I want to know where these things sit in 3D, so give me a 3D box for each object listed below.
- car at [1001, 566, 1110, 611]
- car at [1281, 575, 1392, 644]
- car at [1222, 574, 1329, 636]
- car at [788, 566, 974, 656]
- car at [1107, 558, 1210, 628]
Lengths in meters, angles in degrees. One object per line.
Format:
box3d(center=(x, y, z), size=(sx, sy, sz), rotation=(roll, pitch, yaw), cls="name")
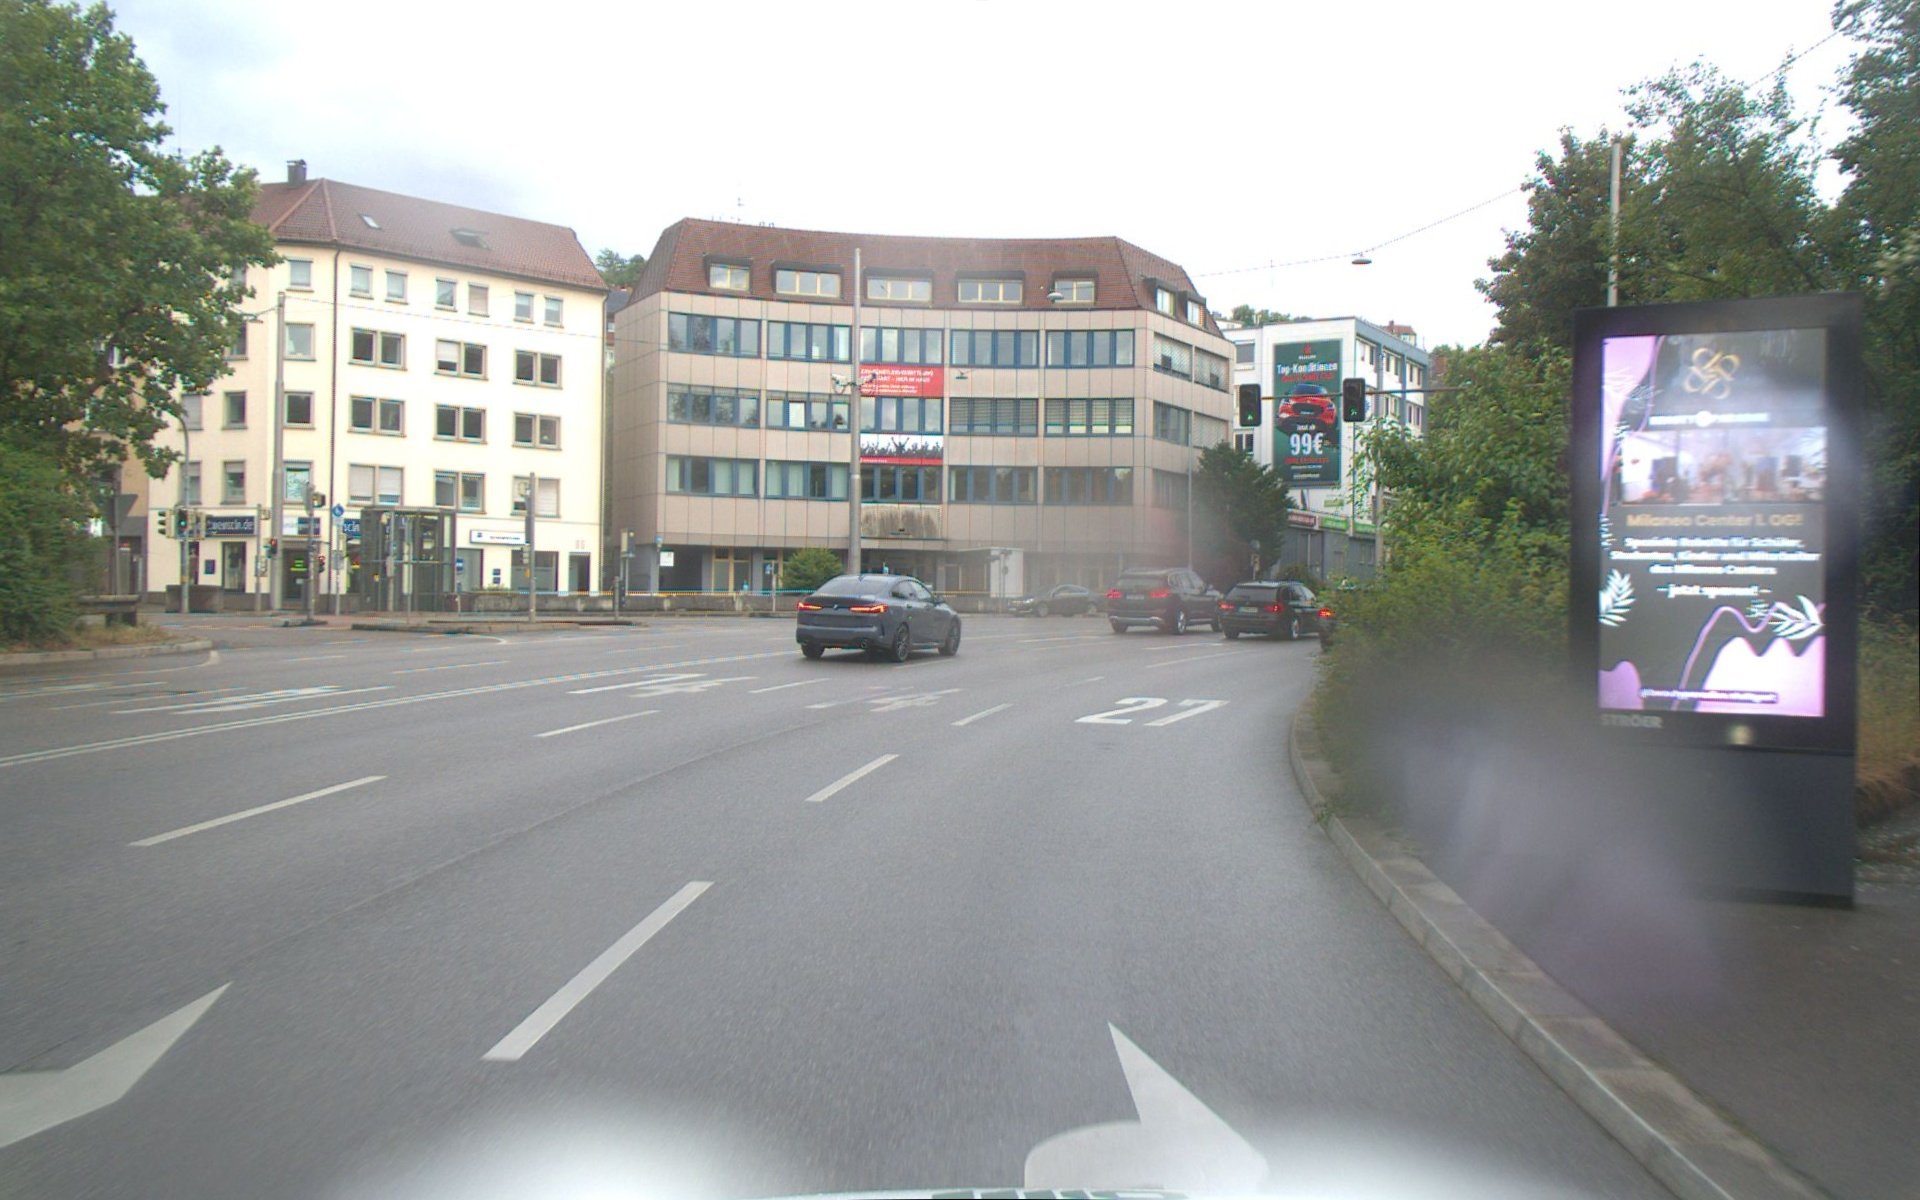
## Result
box3d(center=(4.127, -0.479, 71.250), size=(4.378, 1.875, 1.980), rotation=(0, -1, -30), cls="car")
box3d(center=(8.427, 0.211, 36.819), size=(1.918, 1.451, 4.126), rotation=(0, 0, 20), cls="car")
box3d(center=(8.010, 0.072, 41.730), size=(1.755, 1.450, 4.613), rotation=(1, 1, 22), cls="car")
box3d(center=(-1.289, 0.188, 28.998), size=(1.753, 1.451, 4.386), rotation=(0, 0, 19), cls="car")
box3d(center=(5.191, -0.154, 42.802), size=(1.860, 1.723, 4.001), rotation=(0, 0, 19), cls="car")
